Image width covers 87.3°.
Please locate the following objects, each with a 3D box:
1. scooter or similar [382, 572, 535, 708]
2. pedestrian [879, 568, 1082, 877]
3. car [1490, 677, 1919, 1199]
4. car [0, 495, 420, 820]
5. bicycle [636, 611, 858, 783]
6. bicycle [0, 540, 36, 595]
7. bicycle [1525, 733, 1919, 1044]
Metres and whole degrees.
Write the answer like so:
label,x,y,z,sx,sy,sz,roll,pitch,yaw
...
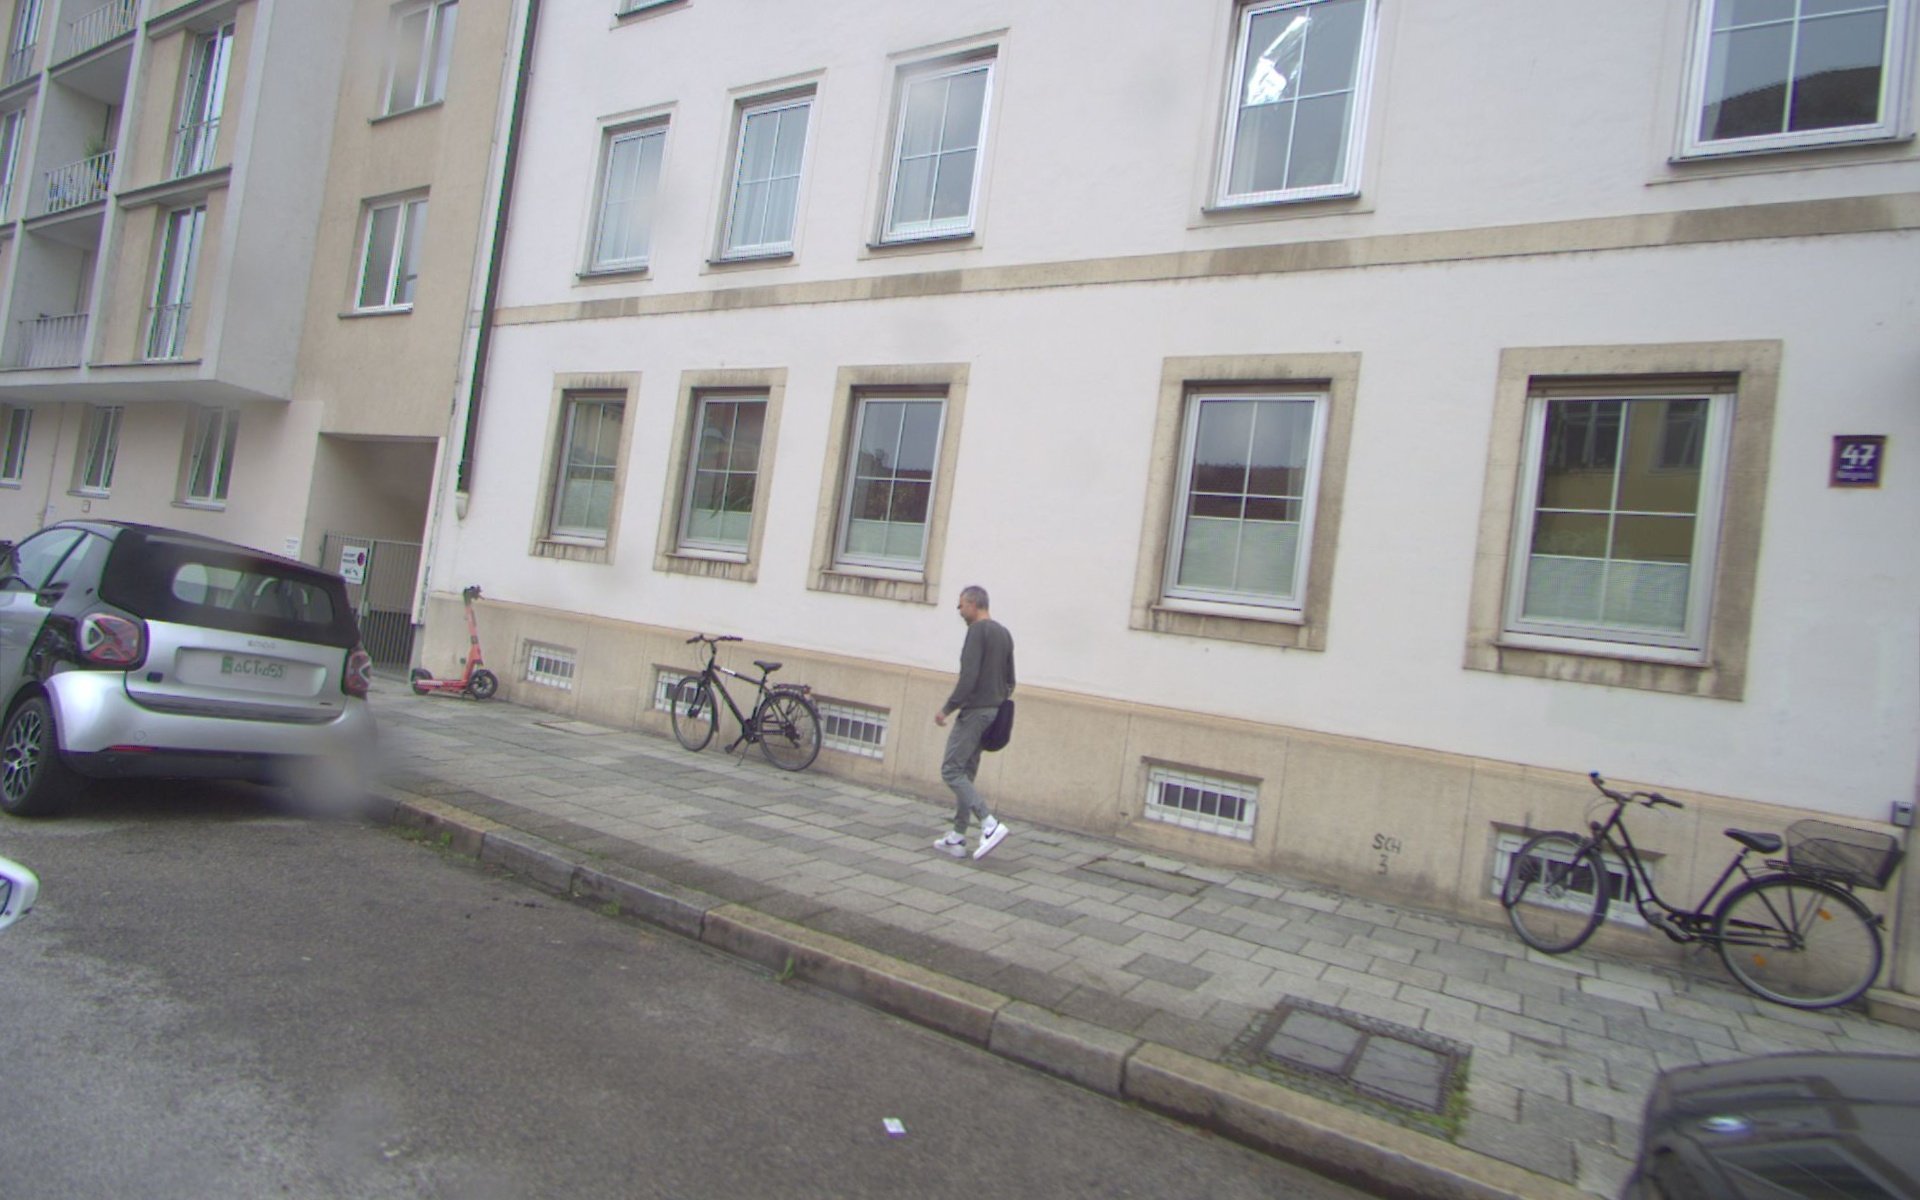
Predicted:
label,x,y,z,sx,sy,sz,roll,pitch,yaw
scooter or similar,-5.675,0.446,11.382,1.560,1.374,0.441,5,-3,19
pedestrian,0.139,0.752,6.568,0.890,1.786,0.723,8,2,32
car,3.411,1.250,0.792,5.229,1.499,1.810,7,-5,30
car,-5.087,0.287,6.239,2.833,1.510,1.656,7,-5,31
bicycle,-1.979,0.841,9.173,2.068,1.232,0.530,7,0,32
bicycle,-17.779,-0.629,18.742,1.369,0.915,0.379,7,-2,32
bicycle,4.287,1.513,5.458,1.953,1.236,0.514,7,-1,24
